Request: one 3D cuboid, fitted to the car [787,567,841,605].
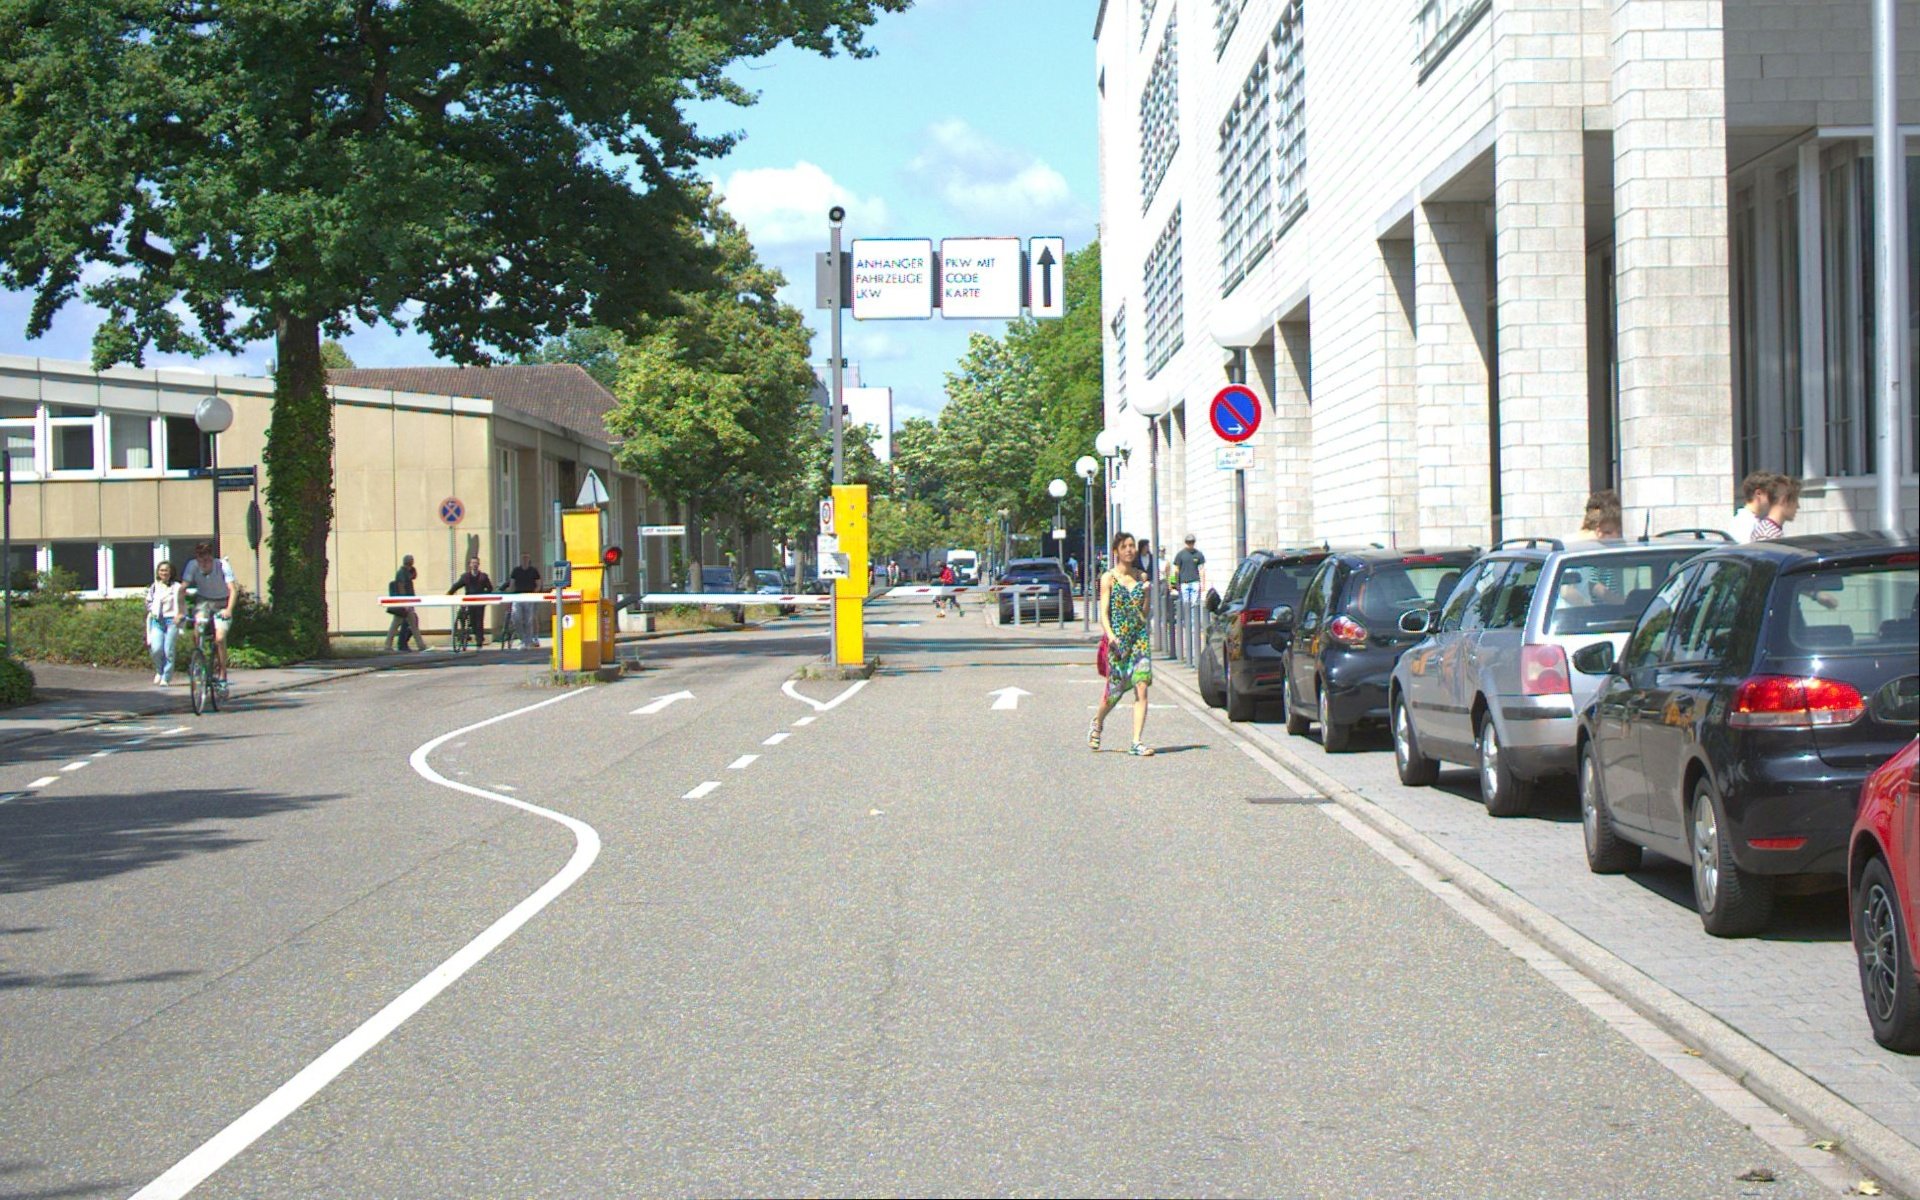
[{"bbox_3d":[-6.035,-0.581,142.692,1.993,1.540,4.212,0,1,1],"label":"car"}]

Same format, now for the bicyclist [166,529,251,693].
[{"bbox_3d":[-8.114,0.115,37.139,0.692,1.731,0.919,-1,0,-1],"label":"bicyclist"}]

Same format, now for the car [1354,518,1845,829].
[{"bbox_3d":[3.540,0.354,19.876,1.719,1.524,4.567,-2,1,-3],"label":"car"}]

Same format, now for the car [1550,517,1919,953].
[{"bbox_3d":[3.616,0.452,14.105,1.719,1.524,4.000,-1,0,1],"label":"car"}]

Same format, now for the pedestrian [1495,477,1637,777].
[{"bbox_3d":[3.945,0.171,22.371,0.784,1.919,0.593,0,0,23],"label":"pedestrian"}]

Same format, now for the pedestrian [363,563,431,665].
[{"bbox_3d":[-10.722,0.270,65.481,0.886,1.919,1.005,0,0,24],"label":"pedestrian"}]

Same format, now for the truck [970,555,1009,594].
[{"bbox_3d":[1.603,-1.410,190.389,1.993,2.007,4.000,-1,-1,-1],"label":"truck"}]

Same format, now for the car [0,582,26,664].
[{"bbox_3d":[-18.174,0.430,61.450,1.829,1.462,4.299,-1,1,-1],"label":"car"}]

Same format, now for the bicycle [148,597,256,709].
[{"bbox_3d":[-8.199,0.554,37.251,0.692,1.167,2.210,-1,0,-1],"label":"bicycle"}]

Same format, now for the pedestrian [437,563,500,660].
[{"bbox_3d":[-9.305,0.206,65.096,1.056,1.809,0.806,-1,1,-1],"label":"pedestrian"}]

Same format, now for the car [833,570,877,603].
[{"bbox_3d":[-5.178,-0.677,169.570,1.993,1.540,4.212,0,1,1],"label":"car"}]

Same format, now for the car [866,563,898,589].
[{"bbox_3d":[-5.605,-1.721,247.193,1.994,1.714,3.999,-1,-1,3],"label":"car"}]

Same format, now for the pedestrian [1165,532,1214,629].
[{"bbox_3d":[4.314,-0.374,64.600,0.767,1.774,0.910,-2,1,-1],"label":"pedestrian"}]

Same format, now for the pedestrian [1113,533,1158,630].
[{"bbox_3d":[3.290,-0.359,64.645,0.694,1.774,1.086,-2,1,-1],"label":"pedestrian"}]

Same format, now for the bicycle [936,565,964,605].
[{"bbox_3d":[-0.363,-0.523,122.511,0.987,1.311,2.964,-1,-1,0],"label":"bicycle"}]

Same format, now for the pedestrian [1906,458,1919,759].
[{"bbox_3d":[6.640,0.049,21.615,1.095,1.913,1.021,-1,0,1],"label":"pedestrian"}]

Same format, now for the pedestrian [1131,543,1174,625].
[{"bbox_3d":[3.909,-0.328,69.881,0.741,1.627,0.888,-2,1,-1],"label":"pedestrian"}]

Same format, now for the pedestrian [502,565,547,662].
[{"bbox_3d":[-8.230,0.242,65.014,0.705,1.803,1.001,-1,1,-1],"label":"pedestrian"}]

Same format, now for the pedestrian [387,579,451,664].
[{"bbox_3d":[-10.469,0.423,66.514,0.886,1.627,0.895,0,0,24],"label":"pedestrian"}]

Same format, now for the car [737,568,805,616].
[{"bbox_3d":[-6.270,-0.276,114.555,1.993,1.540,4.212,0,1,1],"label":"car"}]

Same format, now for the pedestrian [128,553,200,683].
[{"bbox_3d":[-10.066,0.227,43.502,0.713,1.621,0.883,-1,0,-1],"label":"pedestrian"}]

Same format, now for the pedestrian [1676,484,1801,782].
[{"bbox_3d":[5.099,0.211,22.551,0.724,1.919,0.751,-1,0,8],"label":"pedestrian"}]

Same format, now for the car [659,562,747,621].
[{"bbox_3d":[-6.888,-0.237,92.608,1.993,1.540,4.212,0,1,1],"label":"car"}]

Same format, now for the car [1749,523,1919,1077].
[{"bbox_3d":[3.372,0.514,8.917,1.614,1.491,4.147,-3,1,0],"label":"car"}]

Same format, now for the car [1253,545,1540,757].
[{"bbox_3d":[3.277,0.346,26.463,1.614,1.491,4.006,-1,0,-1],"label":"car"}]

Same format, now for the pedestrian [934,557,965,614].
[{"bbox_3d":[-0.295,-0.415,99.895,0.894,1.627,0.887,0,0,0],"label":"pedestrian"}]

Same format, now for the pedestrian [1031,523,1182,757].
[{"bbox_3d":[1.095,0.288,25.781,0.623,1.711,1.040,-1,0,-32],"label":"pedestrian"}]

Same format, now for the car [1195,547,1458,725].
[{"bbox_3d":[3.208,0.281,30.877,1.866,1.459,4.520,-1,1,0],"label":"car"}]

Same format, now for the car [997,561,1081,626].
[{"bbox_3d":[1.928,-0.174,85.070,1.993,1.540,4.212,-1,1,1],"label":"car"}]

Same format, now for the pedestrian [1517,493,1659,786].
[{"bbox_3d":[4.209,0.258,23.015,0.783,1.919,0.733,0,0,23],"label":"pedestrian"}]
